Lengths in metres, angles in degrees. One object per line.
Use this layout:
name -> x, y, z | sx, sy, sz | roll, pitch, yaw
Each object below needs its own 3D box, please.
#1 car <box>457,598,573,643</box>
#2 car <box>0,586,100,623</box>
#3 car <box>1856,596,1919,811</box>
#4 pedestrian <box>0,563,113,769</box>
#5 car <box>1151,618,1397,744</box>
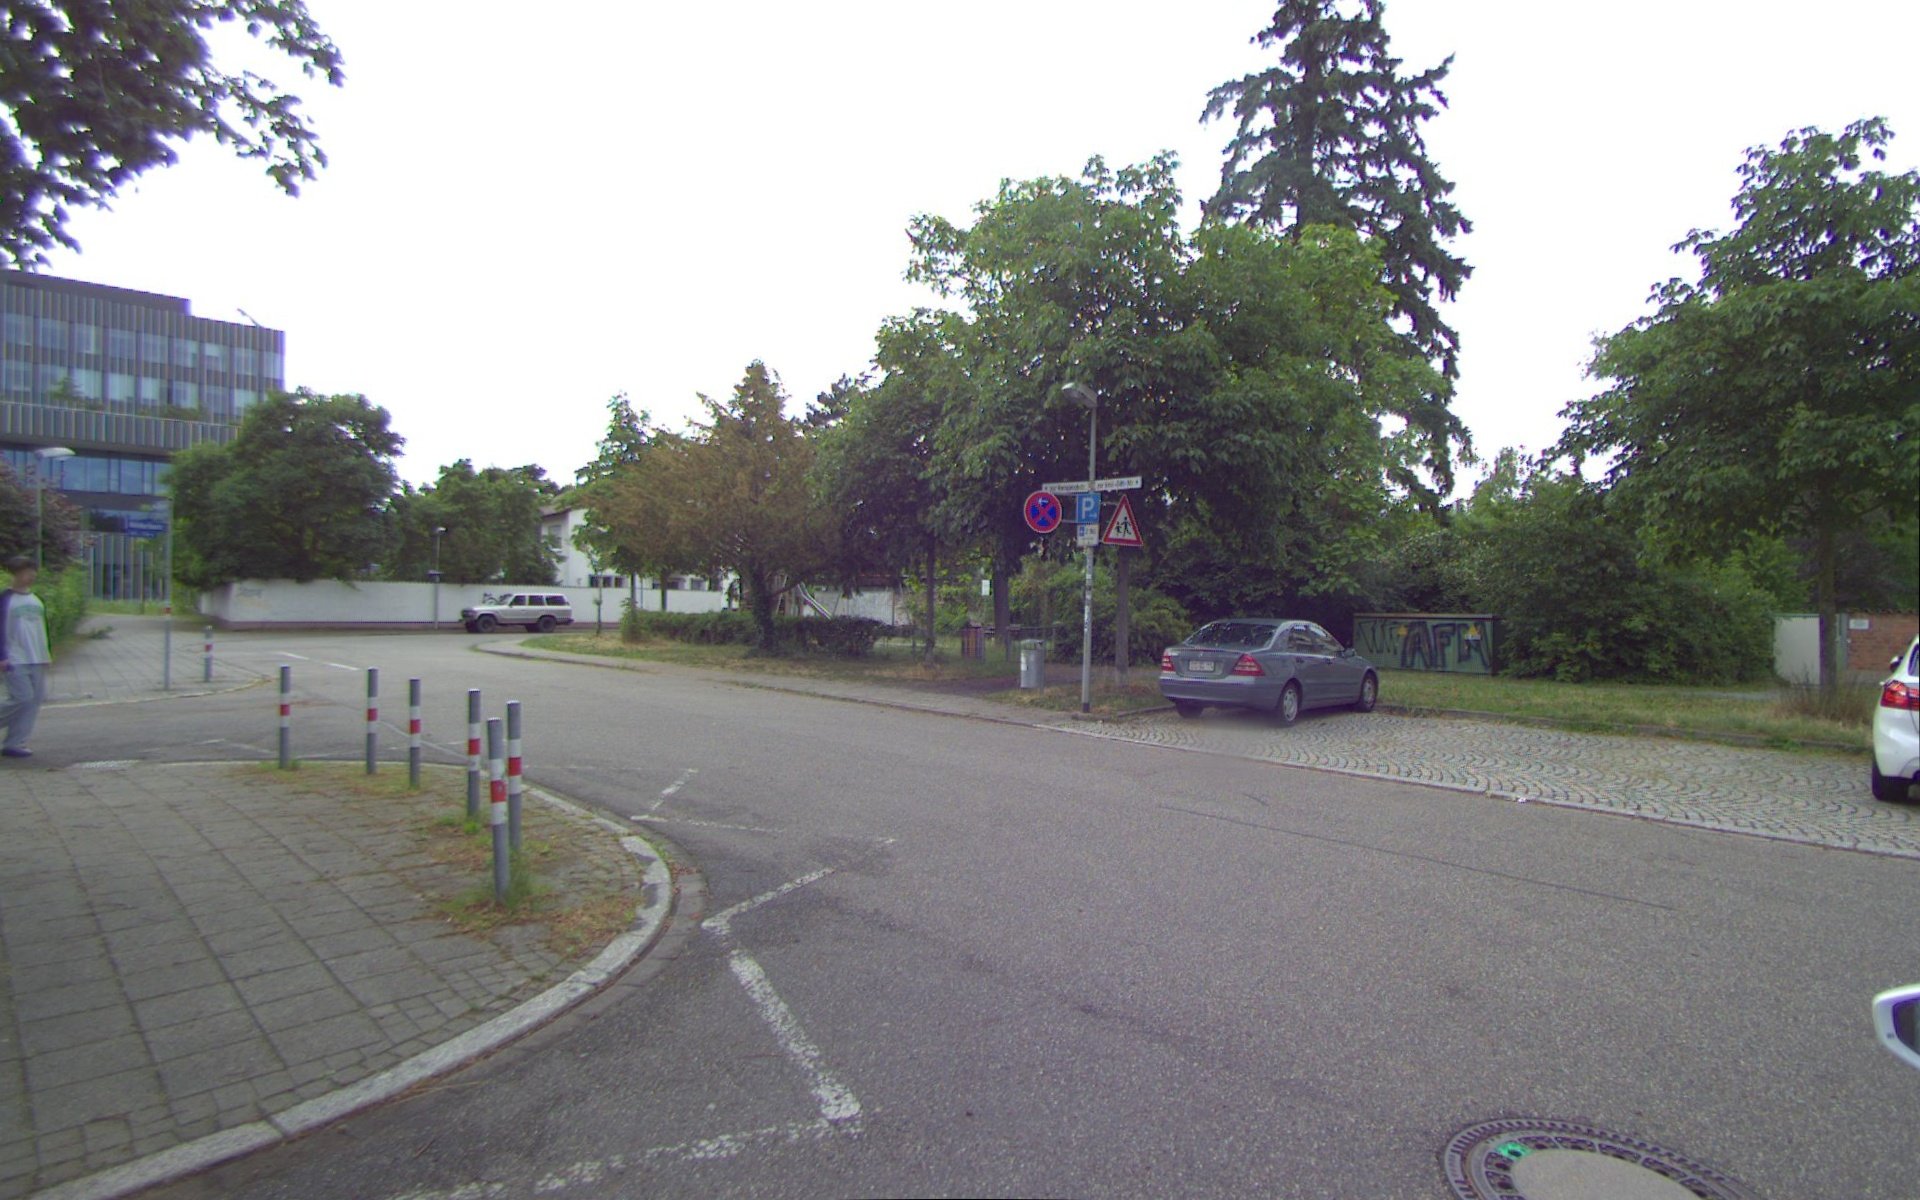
car -> -20.577, 0.918, 46.554 | 1.972, 1.884, 4.467 | 4, 2, 44
car -> -49.393, 0.233, 54.603 | 3.969, 1.862, 1.976 | 1, 2, -41
car -> 9.621, 0.848, 9.078 | 4.117, 1.582, 1.861 | -3, 3, -43
pedestrian -> -9.006, 0.599, 9.501 | 1.196, 1.860, 0.878 | 1, -1, -3
car -> 4.726, 1.043, 14.704 | 1.656, 1.474, 4.533 | 0, 0, 43
